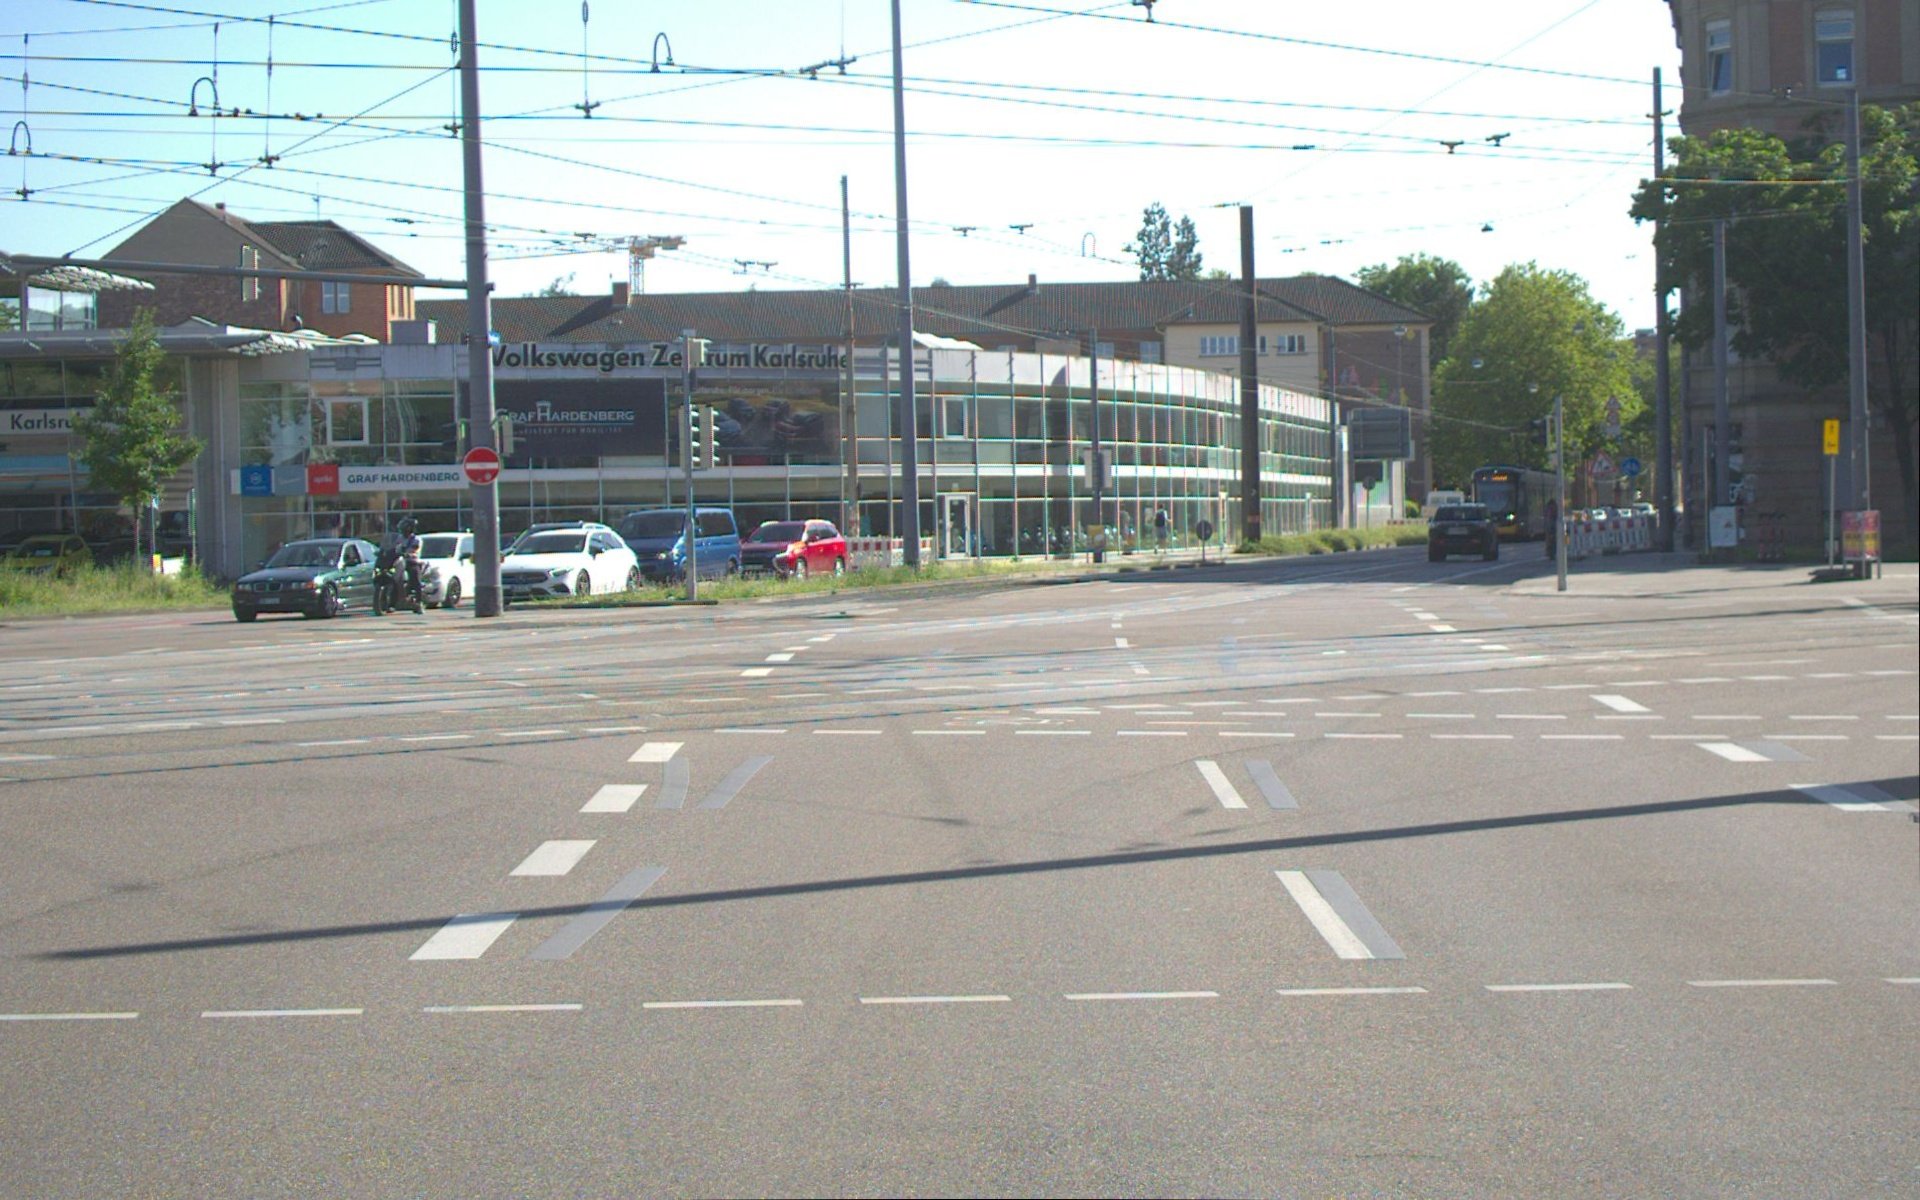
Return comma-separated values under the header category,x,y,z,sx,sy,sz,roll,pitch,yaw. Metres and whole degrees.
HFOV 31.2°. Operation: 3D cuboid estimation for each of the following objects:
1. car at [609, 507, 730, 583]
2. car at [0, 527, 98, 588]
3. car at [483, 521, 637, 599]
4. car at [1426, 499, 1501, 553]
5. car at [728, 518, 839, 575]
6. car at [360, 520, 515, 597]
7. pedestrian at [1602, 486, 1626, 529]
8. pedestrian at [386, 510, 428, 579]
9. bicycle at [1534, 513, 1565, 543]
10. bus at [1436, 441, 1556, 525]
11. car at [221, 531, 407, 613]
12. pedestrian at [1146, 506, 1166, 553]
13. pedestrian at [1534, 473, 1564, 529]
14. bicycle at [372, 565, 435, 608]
category,x,y,z,sx,sy,sz,roll,pitch,yaw
car,-6.647,-1.277,78.958,1.627,1.686,3.683,-1,1,14
car,-26.535,-1.243,99.876,1.966,1.700,4.084,-1,1,-1
car,-7.523,-0.770,64.946,1.627,1.377,3.735,-1,1,14
car,14.606,-2.152,99.587,1.700,1.497,4.262,-1,1,14
car,-4.399,-1.349,86.085,1.627,1.359,3.683,-1,1,16
car,-10.122,-0.823,66.828,1.627,1.419,3.683,-1,1,14
pedestrian,23.247,-3.284,122.209,0.746,1.517,0.717,-1,1,15
pedestrian,-9.726,-0.979,60.459,0.423,1.200,0.749,-1,1,17
bicycle,17.404,-2.122,101.445,0.743,0.867,1.930,-1,1,14
bus,26.307,-5.541,167.412,3.839,3.595,24.852,1,1,13
car,-11.391,-0.514,60.877,1.705,1.349,3.698,-1,1,17
pedestrian,7.164,-2.572,125.588,0.543,1.683,0.629,-1,1,20
pedestrian,17.446,-2.924,101.803,0.803,1.626,0.717,-1,0,14
bicycle,-9.759,-0.241,60.326,0.423,0.715,1.633,-1,1,17
